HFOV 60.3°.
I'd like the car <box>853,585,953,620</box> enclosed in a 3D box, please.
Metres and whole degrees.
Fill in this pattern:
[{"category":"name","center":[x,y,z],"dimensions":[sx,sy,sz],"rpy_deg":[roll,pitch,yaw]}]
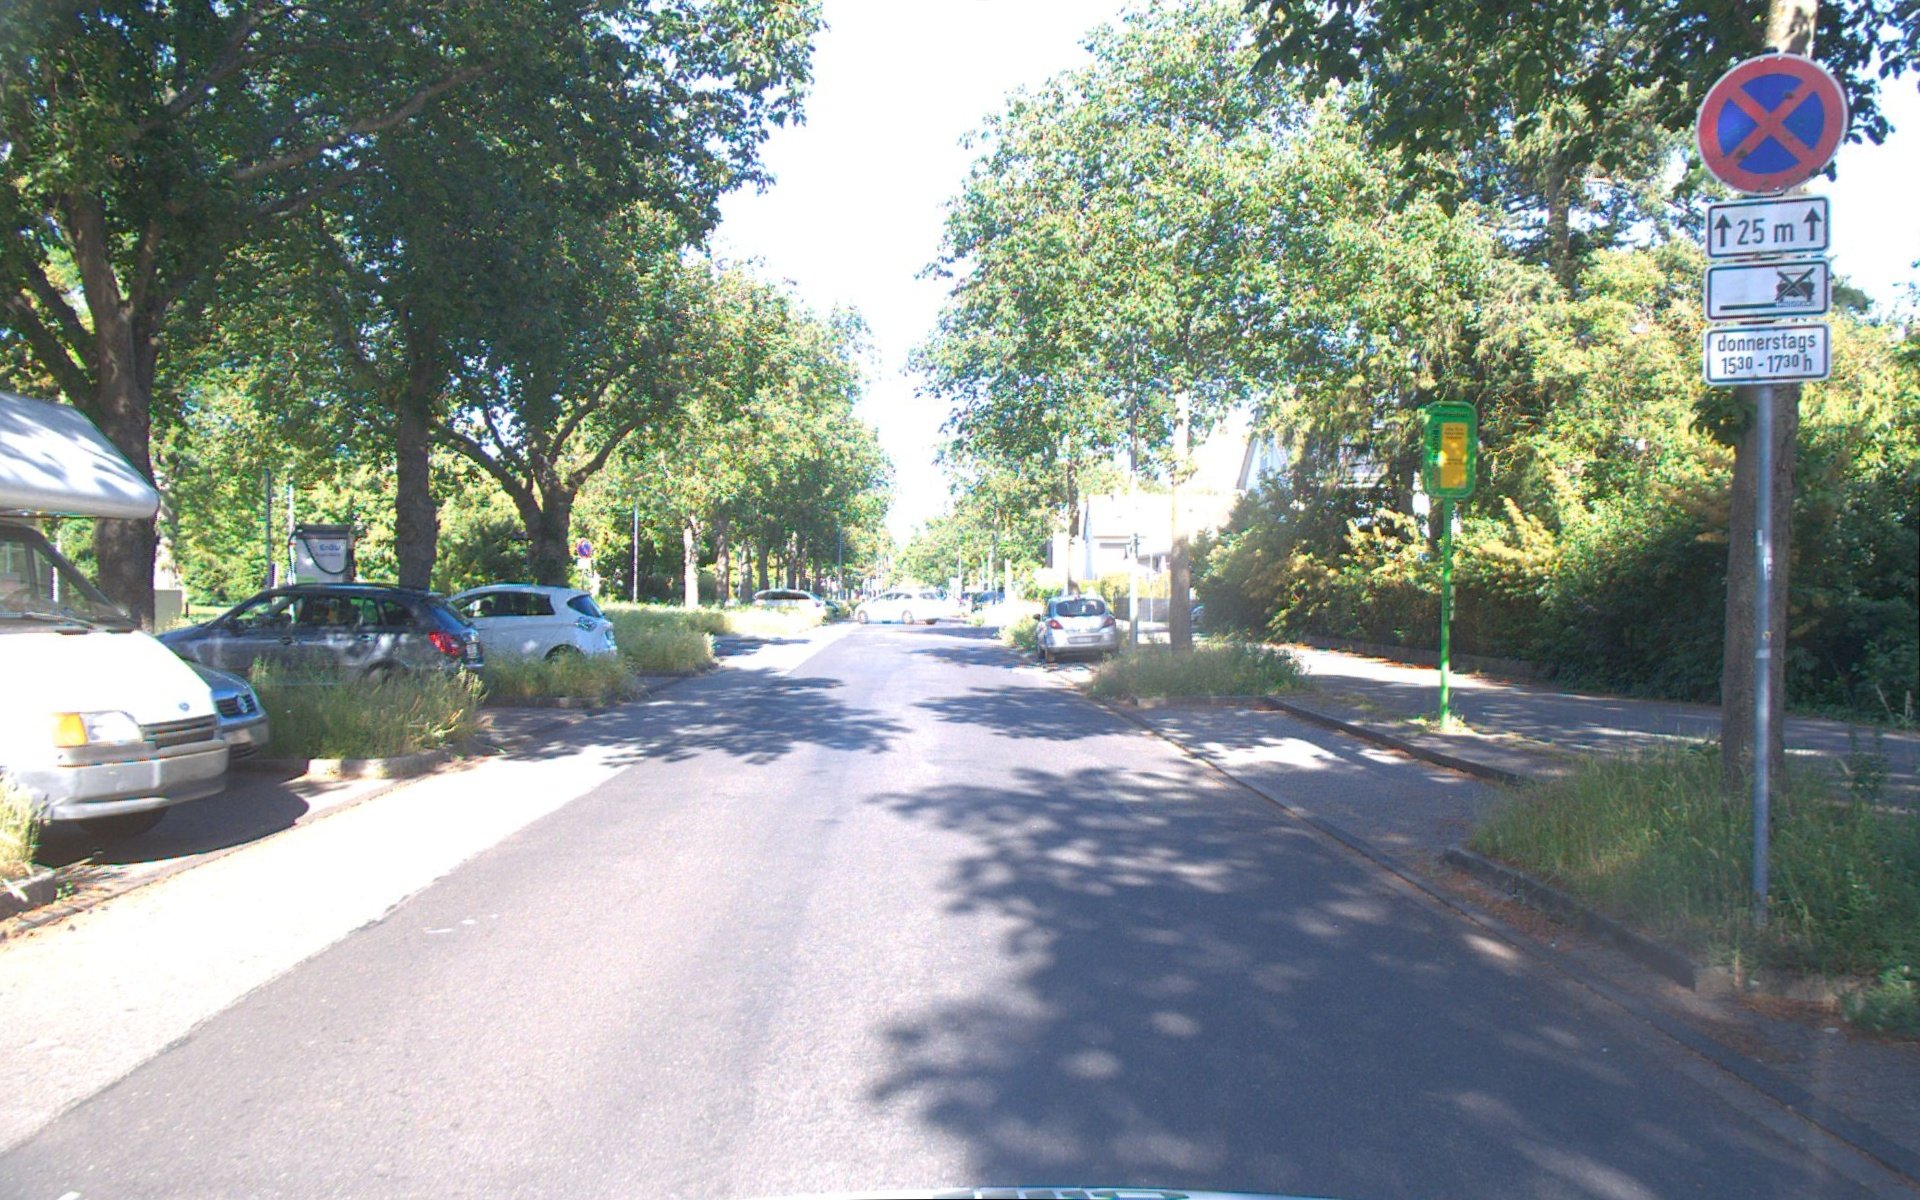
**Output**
[{"category":"car","center":[-2.543,0.088,73.520],"dimensions":[4.140,1.480,1.993],"rpy_deg":[1,0,36]}]

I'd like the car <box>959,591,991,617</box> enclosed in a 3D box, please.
[{"category":"car","center":[1.029,0.292,117.915],"dimensions":[1.954,1.758,3.997],"rpy_deg":[-1,-1,-4]}]

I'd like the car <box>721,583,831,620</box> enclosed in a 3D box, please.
[{"category":"car","center":[-8.039,0.043,72.554],"dimensions":[4.576,1.529,2.000],"rpy_deg":[1,0,-1]}]

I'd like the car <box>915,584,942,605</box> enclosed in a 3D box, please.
[{"category":"car","center":[-2.493,-0.454,131.878],"dimensions":[1.954,1.534,3.656],"rpy_deg":[4,0,-3]}]

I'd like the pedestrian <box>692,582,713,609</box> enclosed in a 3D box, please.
[{"category":"pedestrian","center":[-18.082,-0.293,116.053],"dimensions":[1.206,1.859,1.543],"rpy_deg":[2,-1,-18]}]

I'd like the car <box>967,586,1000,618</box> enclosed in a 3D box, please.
[{"category":"car","center":[1.286,0.114,90.721],"dimensions":[1.578,1.650,4.380],"rpy_deg":[4,0,-1]}]

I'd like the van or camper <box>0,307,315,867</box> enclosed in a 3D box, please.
[{"category":"van or camper","center":[-7.044,-0.223,9.569],"dimensions":[5.658,2.854,2.000],"rpy_deg":[4,0,0]}]

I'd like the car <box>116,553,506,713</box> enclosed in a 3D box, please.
[{"category":"car","center":[-7.822,0.393,20.257],"dimensions":[3.908,1.616,1.999],"rpy_deg":[4,0,-3]}]

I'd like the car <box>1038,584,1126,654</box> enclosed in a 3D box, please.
[{"category":"car","center":[2.893,0.447,38.777],"dimensions":[1.951,1.537,4.002],"rpy_deg":[-1,-1,5]}]

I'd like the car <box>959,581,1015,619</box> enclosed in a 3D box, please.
[{"category":"car","center":[1.271,-0.015,79.076],"dimensions":[1.956,1.650,4.374],"rpy_deg":[4,0,-8]}]

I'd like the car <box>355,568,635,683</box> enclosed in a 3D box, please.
[{"category":"car","center":[-7.308,0.383,26.298],"dimensions":[3.907,1.690,1.966],"rpy_deg":[1,1,-3]}]

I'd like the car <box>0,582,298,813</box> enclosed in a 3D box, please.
[{"category":"car","center":[-7.366,0.618,12.432],"dimensions":[3.908,1.484,1.999],"rpy_deg":[4,0,-3]}]
